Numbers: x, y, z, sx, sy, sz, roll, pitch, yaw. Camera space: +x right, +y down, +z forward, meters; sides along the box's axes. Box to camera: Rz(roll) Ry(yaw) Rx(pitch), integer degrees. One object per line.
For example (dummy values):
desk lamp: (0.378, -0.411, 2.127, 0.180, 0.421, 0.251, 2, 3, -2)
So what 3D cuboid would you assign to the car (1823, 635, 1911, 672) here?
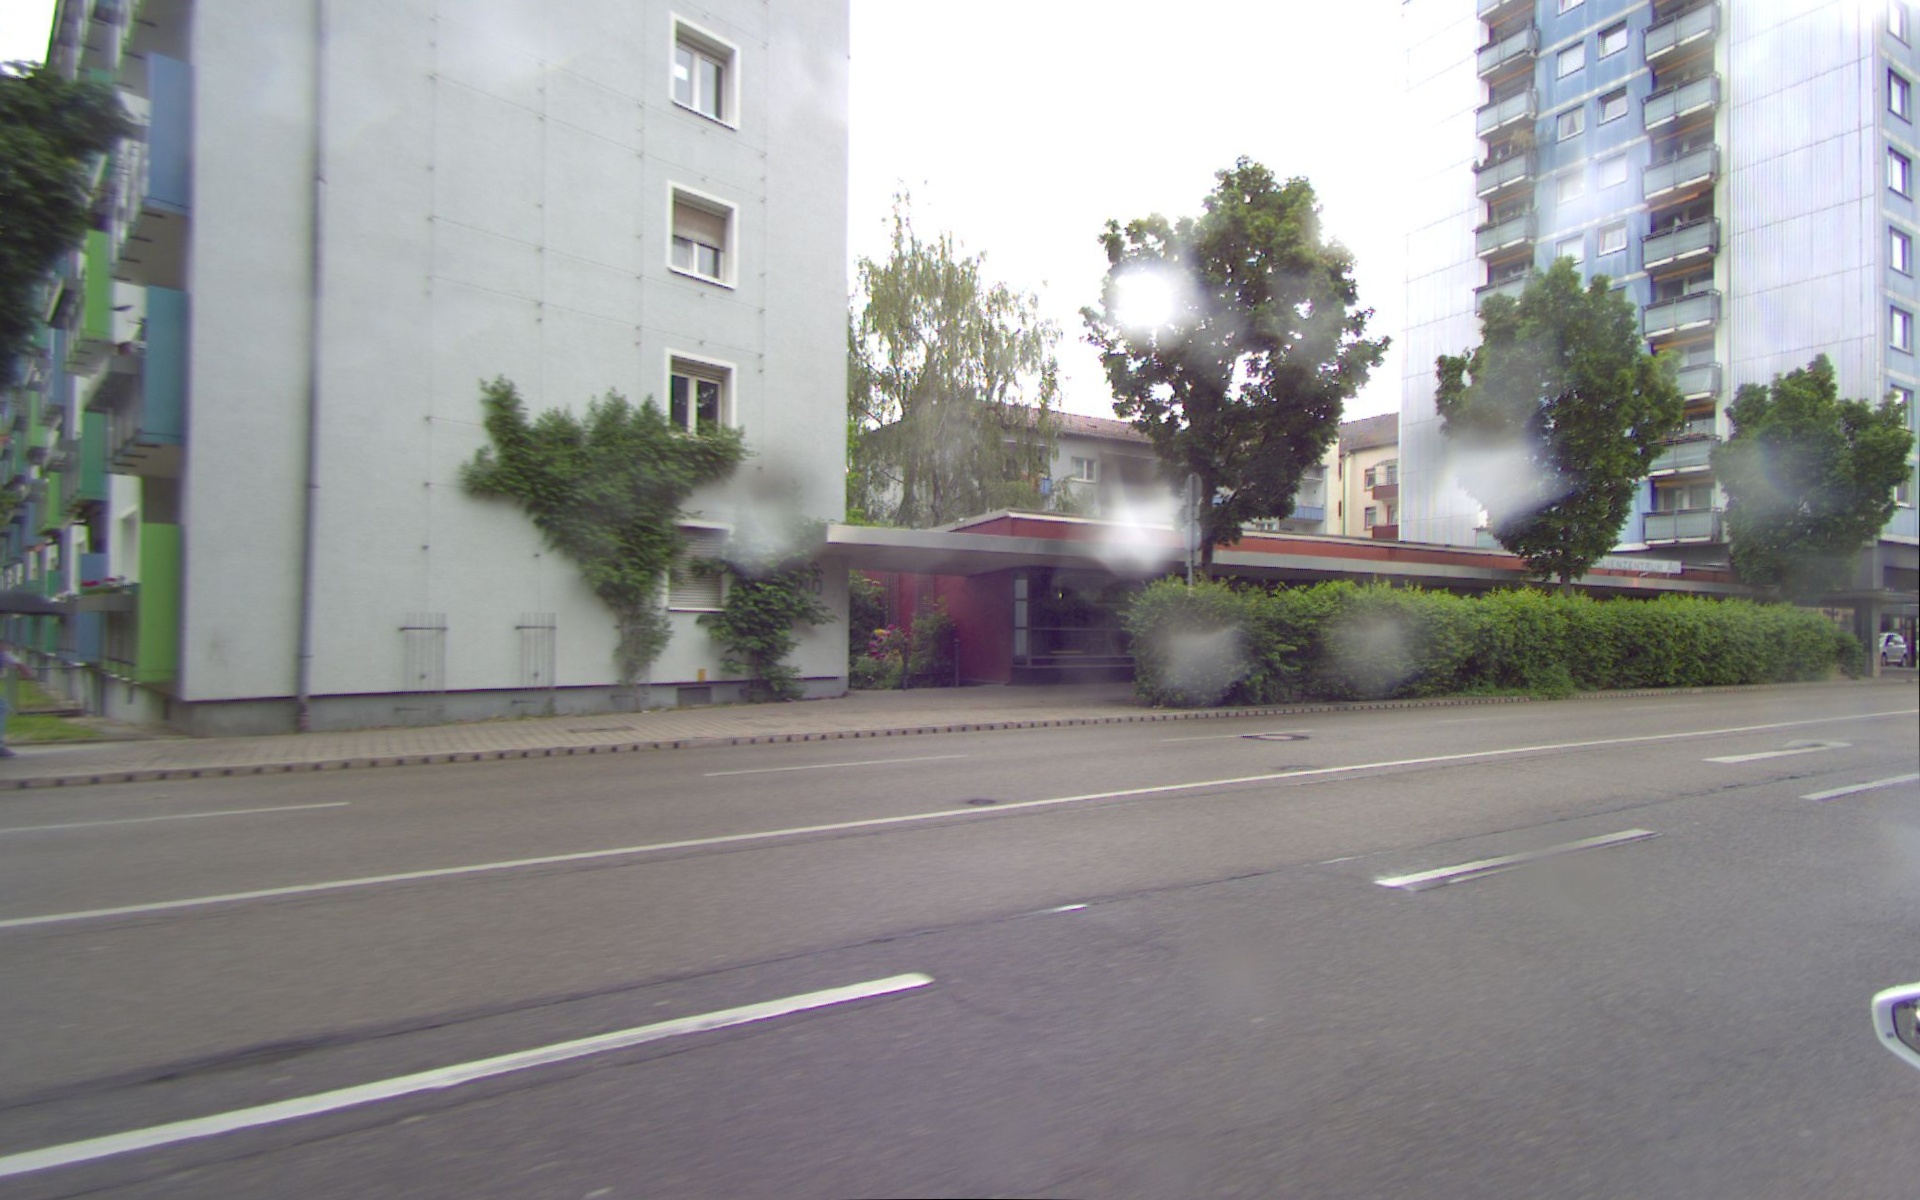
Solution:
car: (44.034, 2.581, 48.747, 4.460, 1.676, 1.983, 2, -1, -31)

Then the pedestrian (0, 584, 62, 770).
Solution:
pedestrian: (-10.056, 0.765, 10.180, 1.250, 1.827, 1.127, 1, -1, -34)
